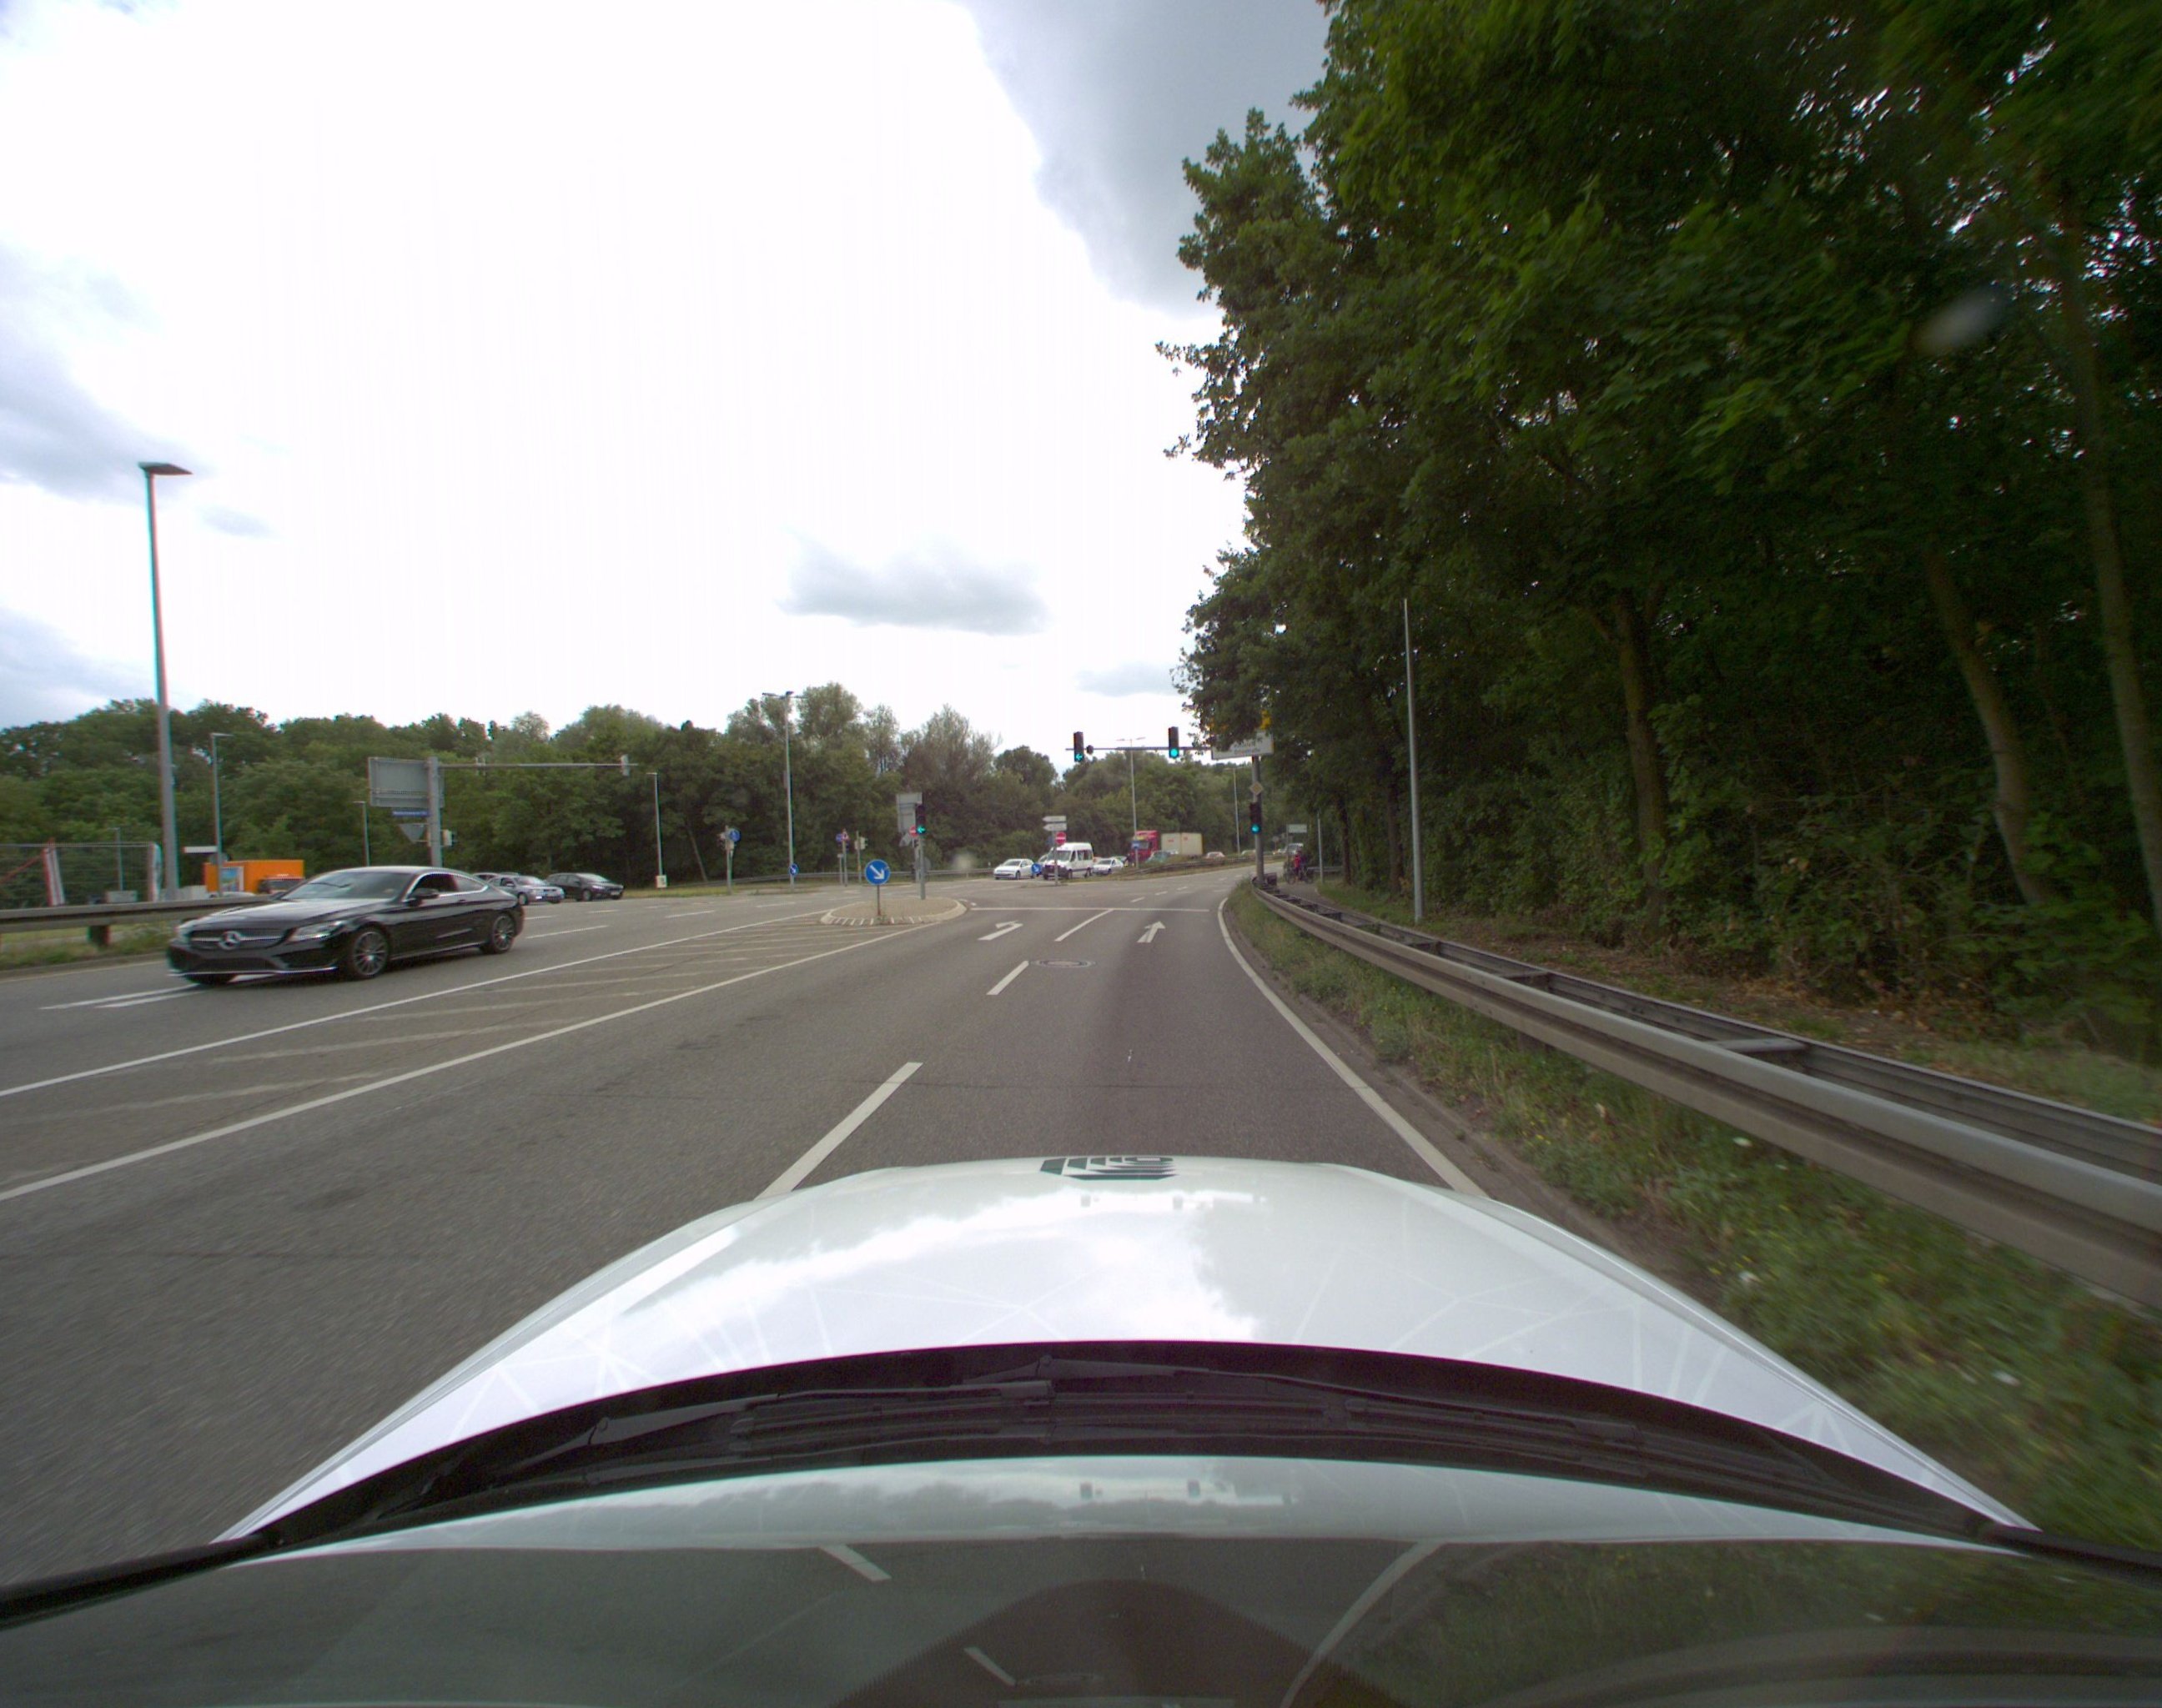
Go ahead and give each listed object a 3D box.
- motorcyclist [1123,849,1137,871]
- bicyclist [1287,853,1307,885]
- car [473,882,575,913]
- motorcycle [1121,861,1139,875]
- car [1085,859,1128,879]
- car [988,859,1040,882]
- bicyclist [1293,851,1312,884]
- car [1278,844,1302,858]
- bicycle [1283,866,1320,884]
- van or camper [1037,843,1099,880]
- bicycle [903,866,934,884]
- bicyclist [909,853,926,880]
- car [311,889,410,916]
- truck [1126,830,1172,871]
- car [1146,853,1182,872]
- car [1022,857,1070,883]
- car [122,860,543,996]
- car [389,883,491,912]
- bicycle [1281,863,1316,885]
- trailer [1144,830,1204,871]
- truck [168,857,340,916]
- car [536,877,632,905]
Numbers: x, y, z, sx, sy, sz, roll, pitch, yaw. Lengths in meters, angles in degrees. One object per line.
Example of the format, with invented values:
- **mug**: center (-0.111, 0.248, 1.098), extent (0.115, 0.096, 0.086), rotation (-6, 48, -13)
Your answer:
- **motorcyclist**: center (4.192, 0.492, 69.912), extent (0.857, 1.823, 0.930), rotation (-2, -1, 23)
- **bicyclist**: center (12.027, 0.832, 45.269), extent (0.842, 1.732, 0.641), rotation (-3, -1, 32)
- **car**: center (-25.877, 2.021, 37.869), extent (3.763, 1.310, 2.010), rotation (-1, -1, 19)
- **motorcycle**: center (4.220, 1.193, 69.849), extent (0.792, 1.225, 2.339), rotation (-2, -1, 22)
- **car**: center (2.093, 1.199, 66.256), extent (1.976, 1.498, 4.424), rotation (-2, -1, 23)
- **car**: center (-4.795, 1.188, 59.061), extent (1.976, 1.547, 4.562), rotation (-1, -1, 21)
- **bicyclist**: center (12.639, 0.763, 46.540), extent (0.942, 1.844, 0.667), rotation (-4, -1, 14)
- **car**: center (29.484, -0.408, 114.850), extent (1.990, 1.863, 5.310), rotation (-2, -1, 29)
- **bicycle**: center (12.601, 1.200, 46.528), extent (1.957, 0.941, 0.664), rotation (-4, -1, 15)
- **van or camper**: center (-0.862, 0.516, 59.950), extent (2.141, 2.589, 6.530), rotation (-2, -1, 22)
- **bicycle**: center (-10.643, 1.381, 53.265), extent (1.920, 1.052, 0.712), rotation (-4, -2, 29)
- **bicyclist**: center (-10.702, 0.826, 53.318), extent (0.736, 1.735, 0.805), rotation (-3, -2, 29)
- **car**: center (-37.740, 2.534, 42.665), extent (4.288, 1.310, 2.010), rotation (-1, -1, 19)
- **truck**: center (7.078, -0.380, 84.143), extent (2.543, 4.083, 5.657), rotation (-2, -1, 29)
- **car**: center (8.080, 0.827, 79.218), extent (1.787, 1.729, 4.990), rotation (-2, -1, 27)
- **car**: center (-2.725, 1.221, 64.163), extent (1.975, 1.902, 4.191), rotation (-2, -1, 25)
- **car**: center (-9.892, 0.846, 11.442), extent (1.992, 1.455, 4.642), rotation (-1, 0, -7)
- **car**: center (-32.347, 2.195, 41.116), extent (4.288, 1.310, 2.010), rotation (-1, -1, 19)
- **bicycle**: center (12.082, 1.112, 45.237), extent (1.725, 1.138, 0.634), rotation (-3, -2, 32)
- **trailer**: center (10.448, -0.371, 90.155), extent (2.511, 4.147, 10.838), rotation (-2, -1, 29)
- **truck**: center (-46.954, 1.831, 46.235), extent (9.171, 3.135, 2.985), rotation (-1, -1, 18)
- **car**: center (-25.310, 1.867, 41.498), extent (4.025, 1.310, 2.010), rotation (-1, -1, 19)
